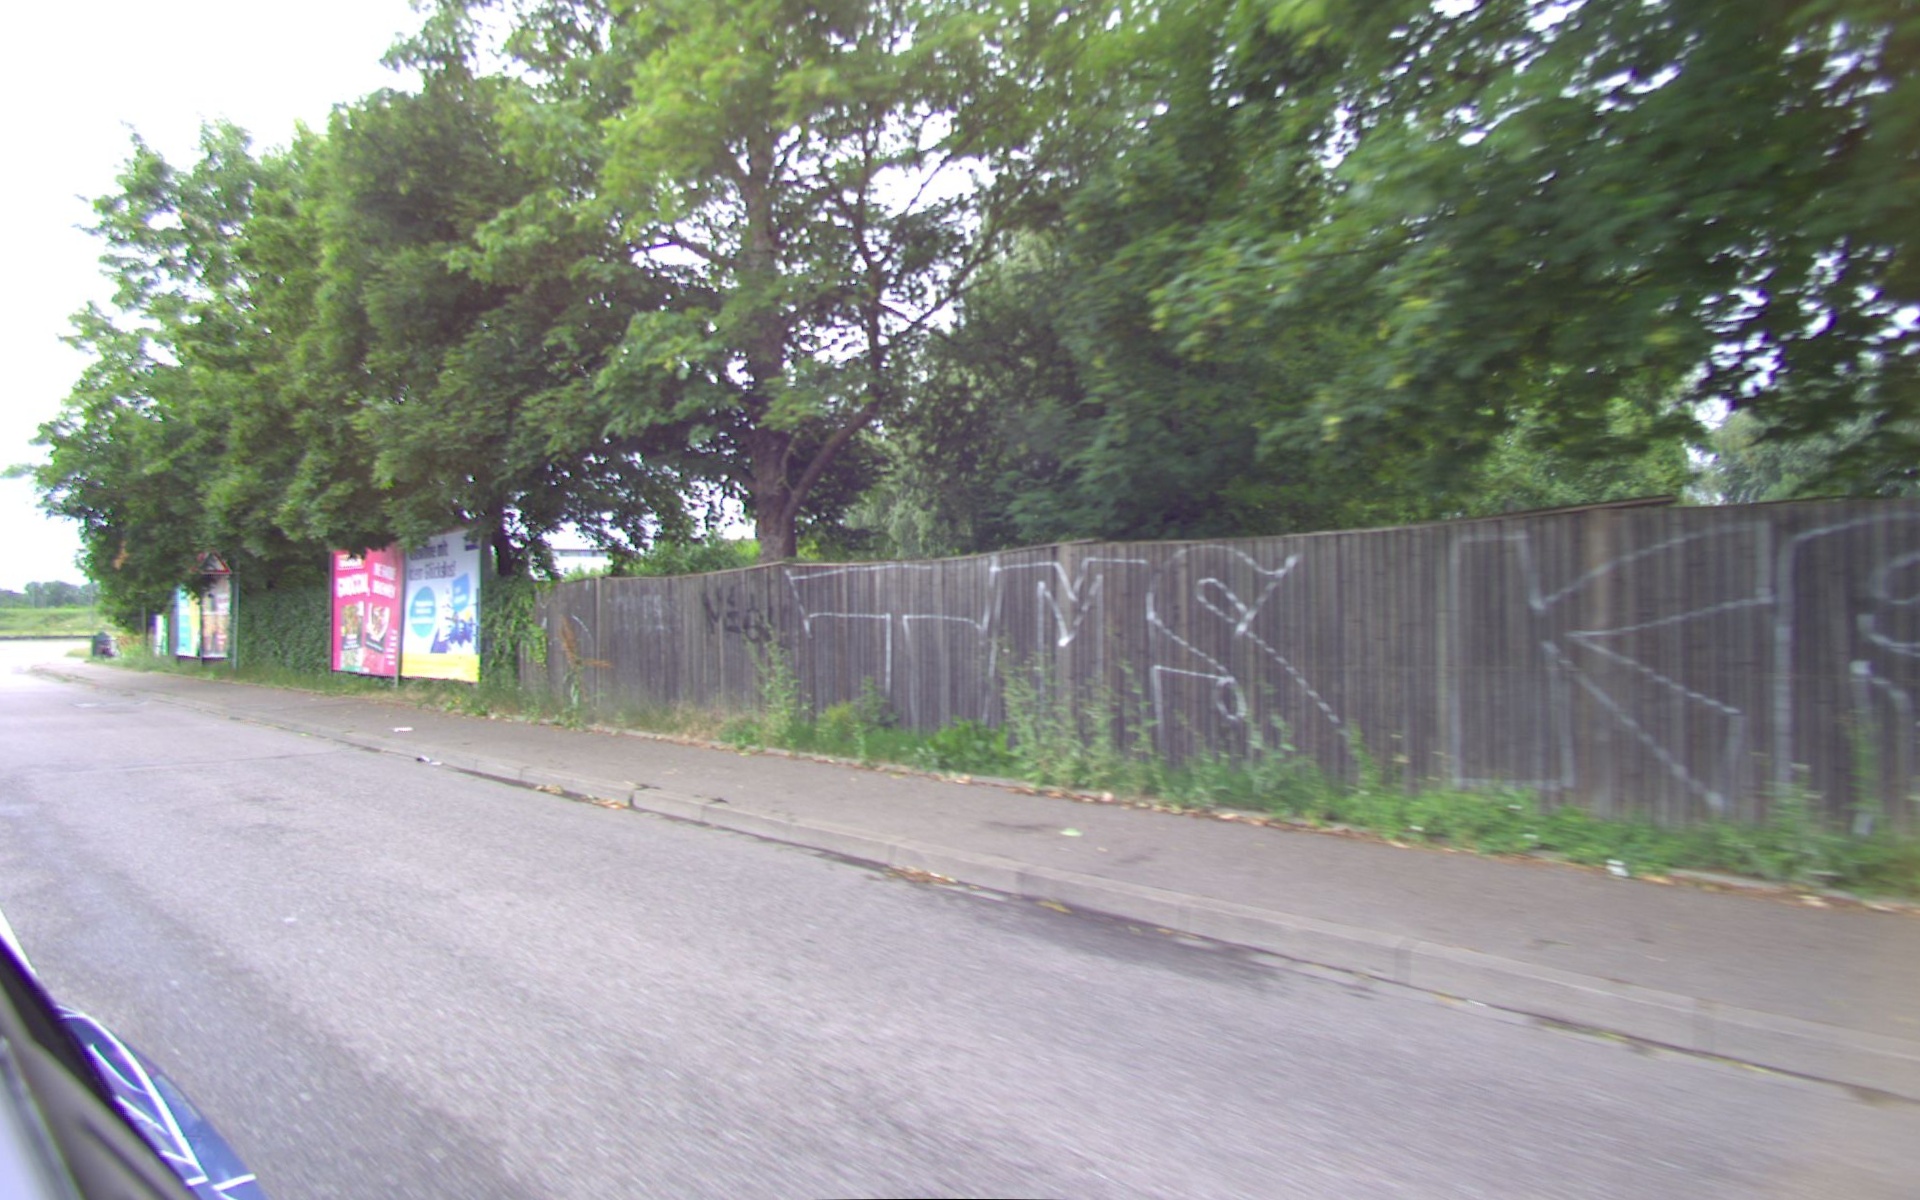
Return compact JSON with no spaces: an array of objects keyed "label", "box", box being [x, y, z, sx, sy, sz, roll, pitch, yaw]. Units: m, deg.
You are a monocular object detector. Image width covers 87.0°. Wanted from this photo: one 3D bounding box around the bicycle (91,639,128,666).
[{"label":"bicycle","box":[-34.517,2.105,41.104,0.574,1.006,1.776,-2,0,-21]}]
